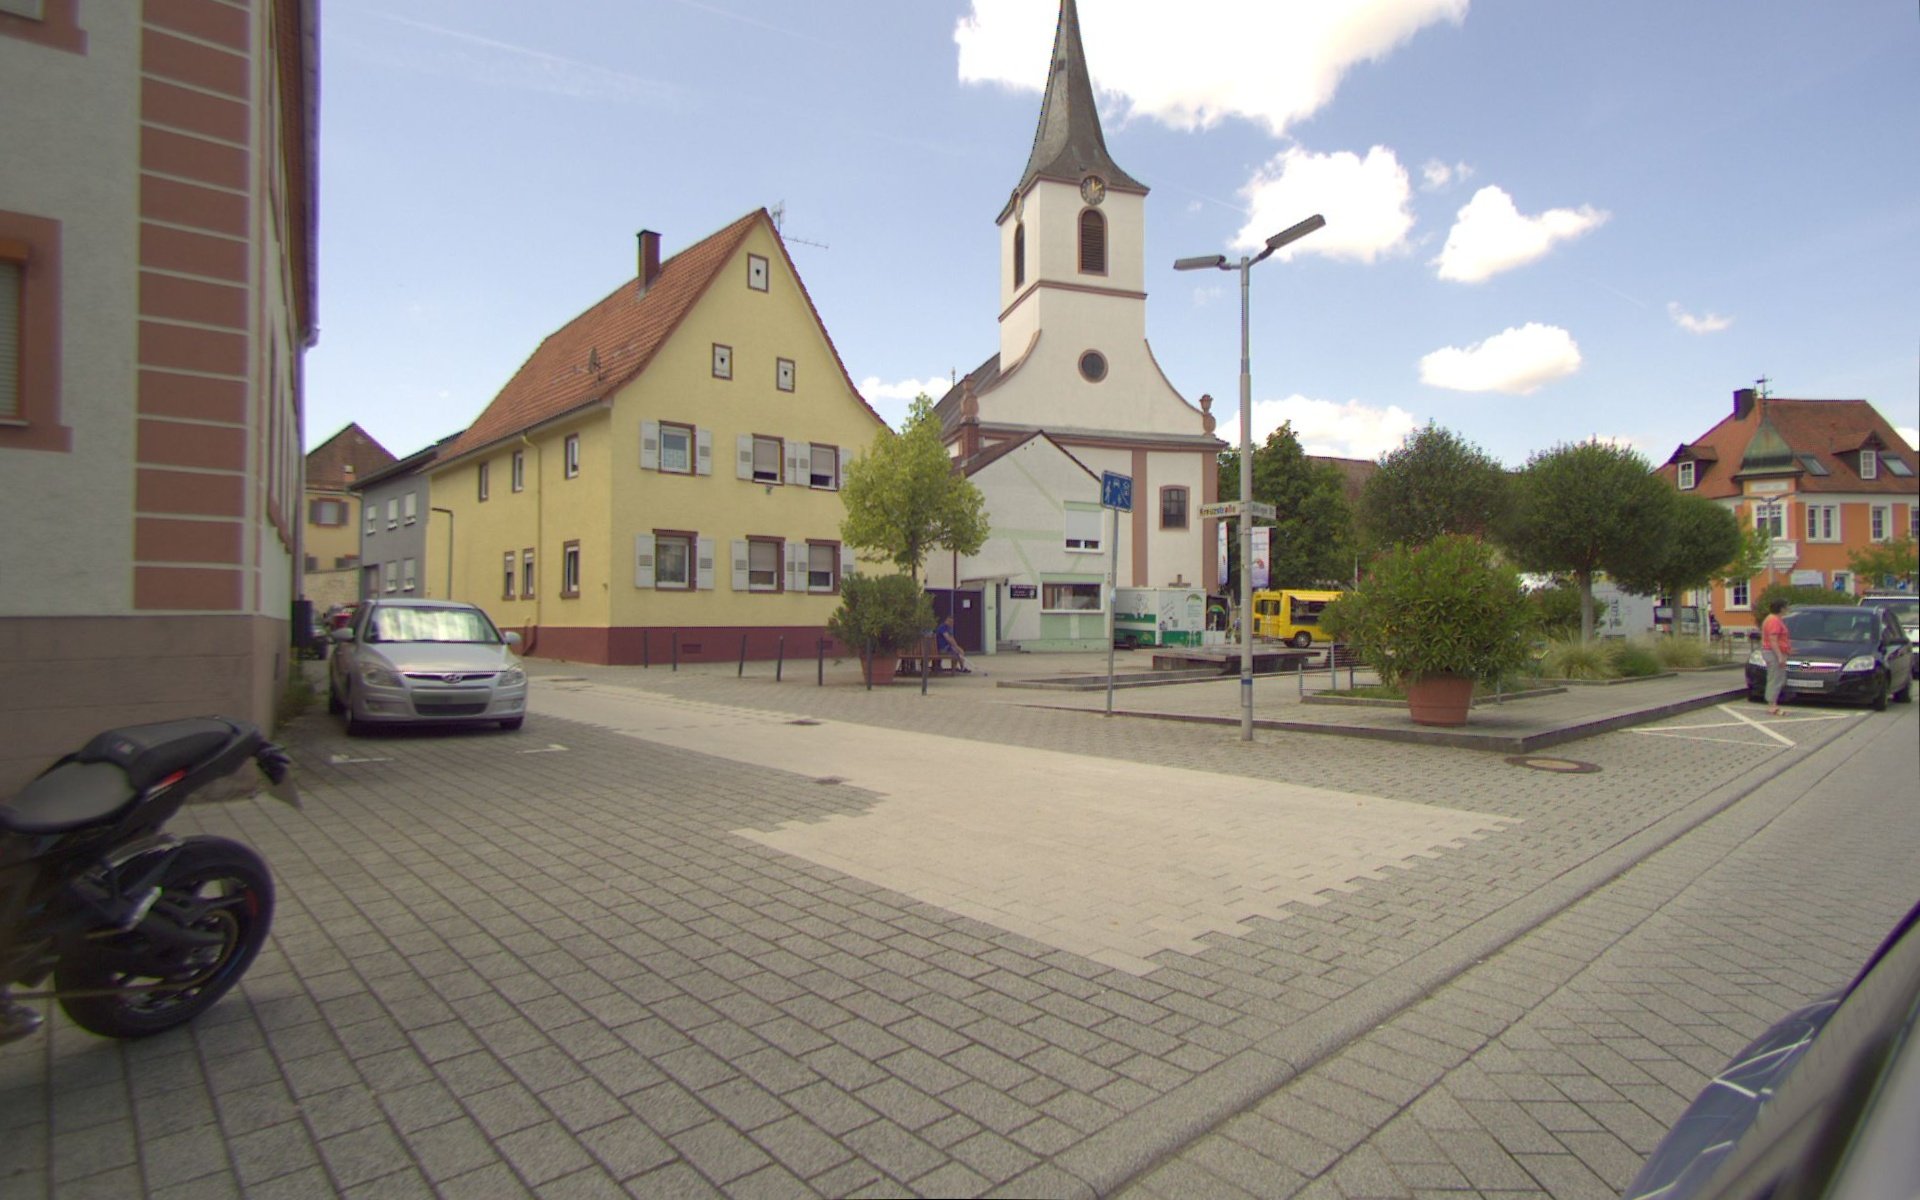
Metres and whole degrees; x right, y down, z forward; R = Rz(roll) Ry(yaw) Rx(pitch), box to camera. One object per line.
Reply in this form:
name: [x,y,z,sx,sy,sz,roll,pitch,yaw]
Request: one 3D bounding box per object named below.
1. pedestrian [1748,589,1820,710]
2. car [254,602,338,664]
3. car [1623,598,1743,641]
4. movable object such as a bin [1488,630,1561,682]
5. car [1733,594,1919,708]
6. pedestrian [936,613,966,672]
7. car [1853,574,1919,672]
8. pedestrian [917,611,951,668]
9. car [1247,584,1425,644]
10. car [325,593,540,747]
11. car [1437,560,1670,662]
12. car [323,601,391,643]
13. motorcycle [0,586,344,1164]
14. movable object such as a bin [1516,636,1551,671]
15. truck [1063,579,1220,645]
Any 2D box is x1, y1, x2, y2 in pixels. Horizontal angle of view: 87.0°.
pedestrian: [11.608,0.685,14.260,0.609,1.650,0.640,1,-1,-37]
car: [-19.220,0.917,29.246,1.578,1.640,3.669,2,-2,-40]
car: [35.803,0.971,50.140,5.379,2.040,2.004,0,-1,-18]
movable object such as a bin: [10.050,0.976,18.012,1.412,0.877,0.735,1,-2,-43]
car: [14.352,0.734,16.463,4.337,1.584,1.774,1,1,-38]
pedestrian: [-0.201,0.942,22.863,0.659,1.300,0.614,0,0,0]
car: [23.448,0.544,24.524,5.010,2.204,1.947,1,1,-40]
pedestrian: [-0.599,0.903,23.473,0.775,1.300,0.537,0,0,0]
car: [16.338,0.596,44.387,6.845,2.509,2.648,0,-1,7]
car: [-6.369,0.696,11.991,1.790,1.492,4.006,1,-1,-34]
car: [19.011,0.295,32.410,6.965,3.000,2.767,0,0,-22]
car: [-25.243,0.887,42.316,1.964,1.641,3.537,0,0,-39]
motorcycle: [-2.768,0.674,2.659,0.857,1.412,2.223,0,-1,3]
movable object such as a bin: [12.829,1.190,22.652,0.384,0.742,0.567,1,-1,-36]
truck: [7.451,0.529,42.620,2.897,2.530,6.832,1,-1,-28]
